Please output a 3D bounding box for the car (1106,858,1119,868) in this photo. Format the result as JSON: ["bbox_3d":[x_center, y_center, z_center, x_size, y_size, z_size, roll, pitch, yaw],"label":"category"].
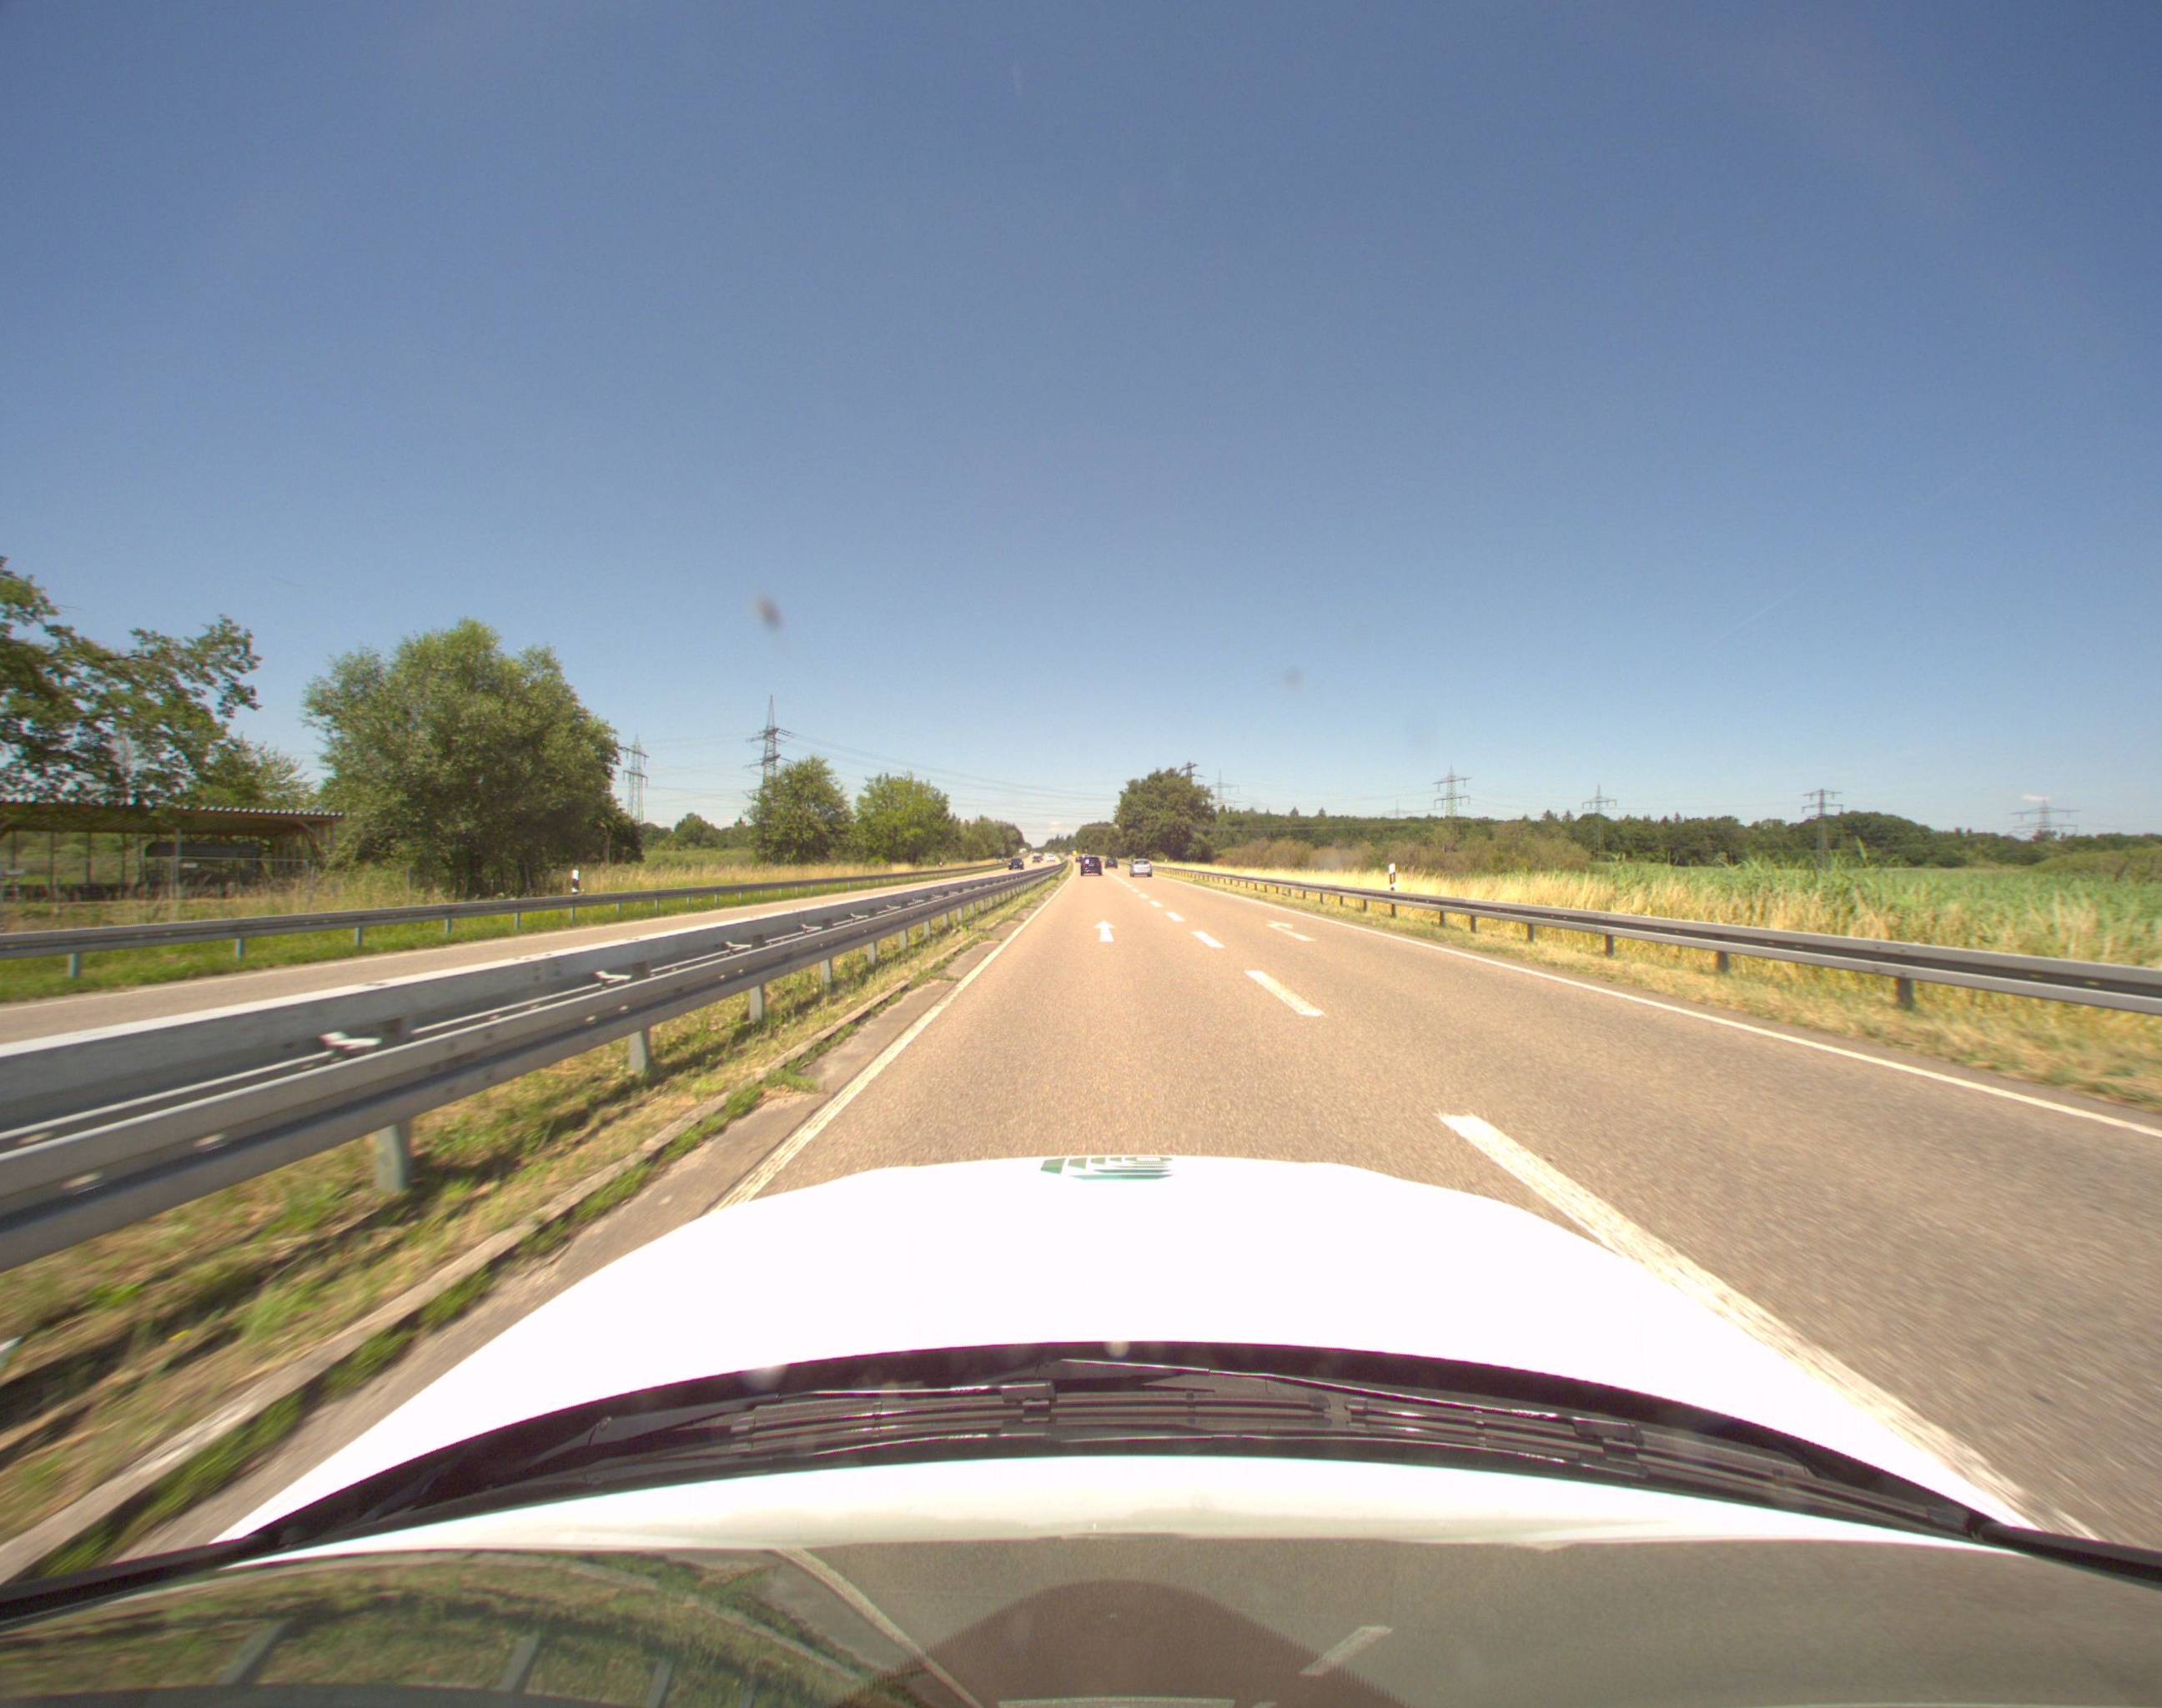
[{"bbox_3d":[4.522,1.296,116.910,1.812,1.414,4.001,-1,0,2],"label":"car"}]

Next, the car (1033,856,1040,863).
[{"bbox_3d":[-10.460,1.317,192.094,1.609,1.475,3.065,-1,0,0],"label":"car"}]

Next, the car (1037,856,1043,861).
[{"bbox_3d":[-11.846,1.265,235.826,1.509,1.475,3.066,2,-1,1],"label":"car"}]

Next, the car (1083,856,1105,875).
[{"bbox_3d":[1.194,1.067,74.054,1.986,1.654,4.001,-1,0,1],"label":"car"}]

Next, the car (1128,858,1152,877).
[{"bbox_3d":[4.902,1.109,67.797,1.772,1.479,4.317,-1,0,2],"label":"car"}]

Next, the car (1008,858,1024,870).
[{"bbox_3d":[-8.978,1.394,112.408,1.826,1.475,3.683,-4,-1,0],"label":"car"}]

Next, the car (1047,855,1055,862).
[{"bbox_3d":[-7.596,1.119,207.405,1.989,1.662,3.996,-1,0,-3],"label":"car"}]

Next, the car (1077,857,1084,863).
[{"bbox_3d":[-0.229,1.350,190.979,1.511,1.475,3.063,-1,0,-2],"label":"car"}]
